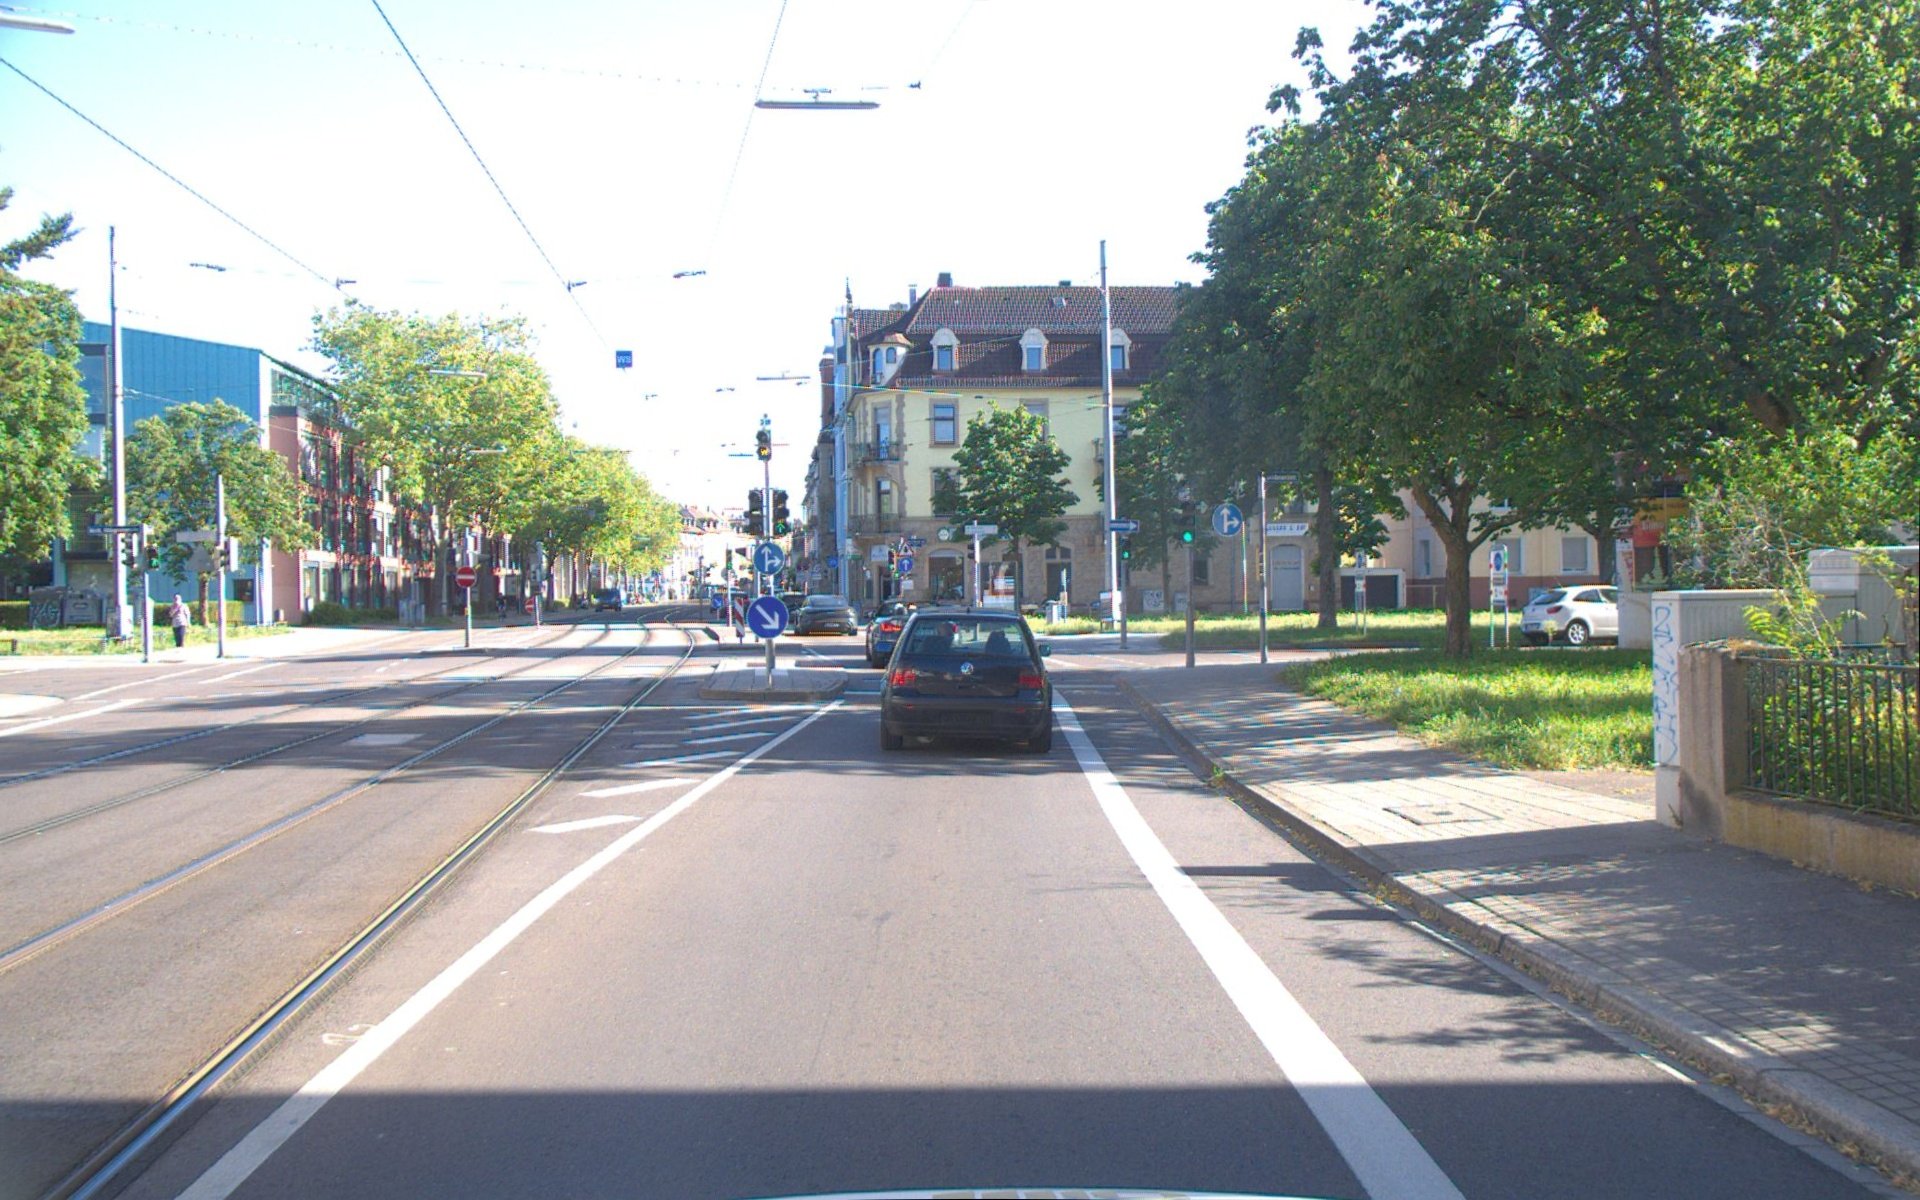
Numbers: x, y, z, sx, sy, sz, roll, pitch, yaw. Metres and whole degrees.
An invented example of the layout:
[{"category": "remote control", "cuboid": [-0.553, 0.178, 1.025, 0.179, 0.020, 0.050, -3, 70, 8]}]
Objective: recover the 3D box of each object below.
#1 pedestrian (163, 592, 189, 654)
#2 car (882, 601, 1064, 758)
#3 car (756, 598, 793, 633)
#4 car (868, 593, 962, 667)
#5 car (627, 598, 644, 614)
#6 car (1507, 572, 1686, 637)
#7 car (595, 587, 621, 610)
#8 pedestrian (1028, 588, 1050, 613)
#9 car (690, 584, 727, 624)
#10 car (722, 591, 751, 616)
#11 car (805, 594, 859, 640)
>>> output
[{"category": "pedestrian", "cuboid": [-22.220, 0.652, 46.869, 0.601, 1.719, 0.728, 2, 0, -25]}, {"category": "car", "cuboid": [0.127, 0.736, 17.312, 1.681, 1.427, 4.006, 1, 0, 0]}, {"category": "car", "cuboid": [-8.395, 0.676, 74.556, 1.540, 1.334, 3.494, -1, 3, -8]}, {"category": "car", "cuboid": [-0.971, 0.566, 33.815, 1.603, 1.396, 3.752, -1, 0, -6]}, {"category": "car", "cuboid": [-43.607, 0.853, 222.397, 1.956, 2.049, 3.992, -1, -1, -8]}, {"category": "car", "cuboid": [15.361, 0.094, 39.983, 3.732, 1.466, 1.739, -1, 0, -13]}, {"category": "car", "cuboid": [-28.935, -0.126, 136.088, 1.936, 1.847, 4.285, -1, 0, -11]}, {"category": "pedestrian", "cuboid": [3.913, 0.005, 82.064, 0.961, 1.208, 0.742, -1, 0, -8]}, {"category": "car", "cuboid": [-12.448, 0.171, 81.983, 1.754, 1.892, 3.992, -1, 0, -9]}, {"category": "car", "cuboid": [-13.471, 0.196, 99.603, 1.650, 1.479, 3.372, -1, 0, -9]}, {"category": "car", "cuboid": [-4.437, 0.559, 57.136, 1.541, 1.334, 3.640, -1, 3, -9]}]
